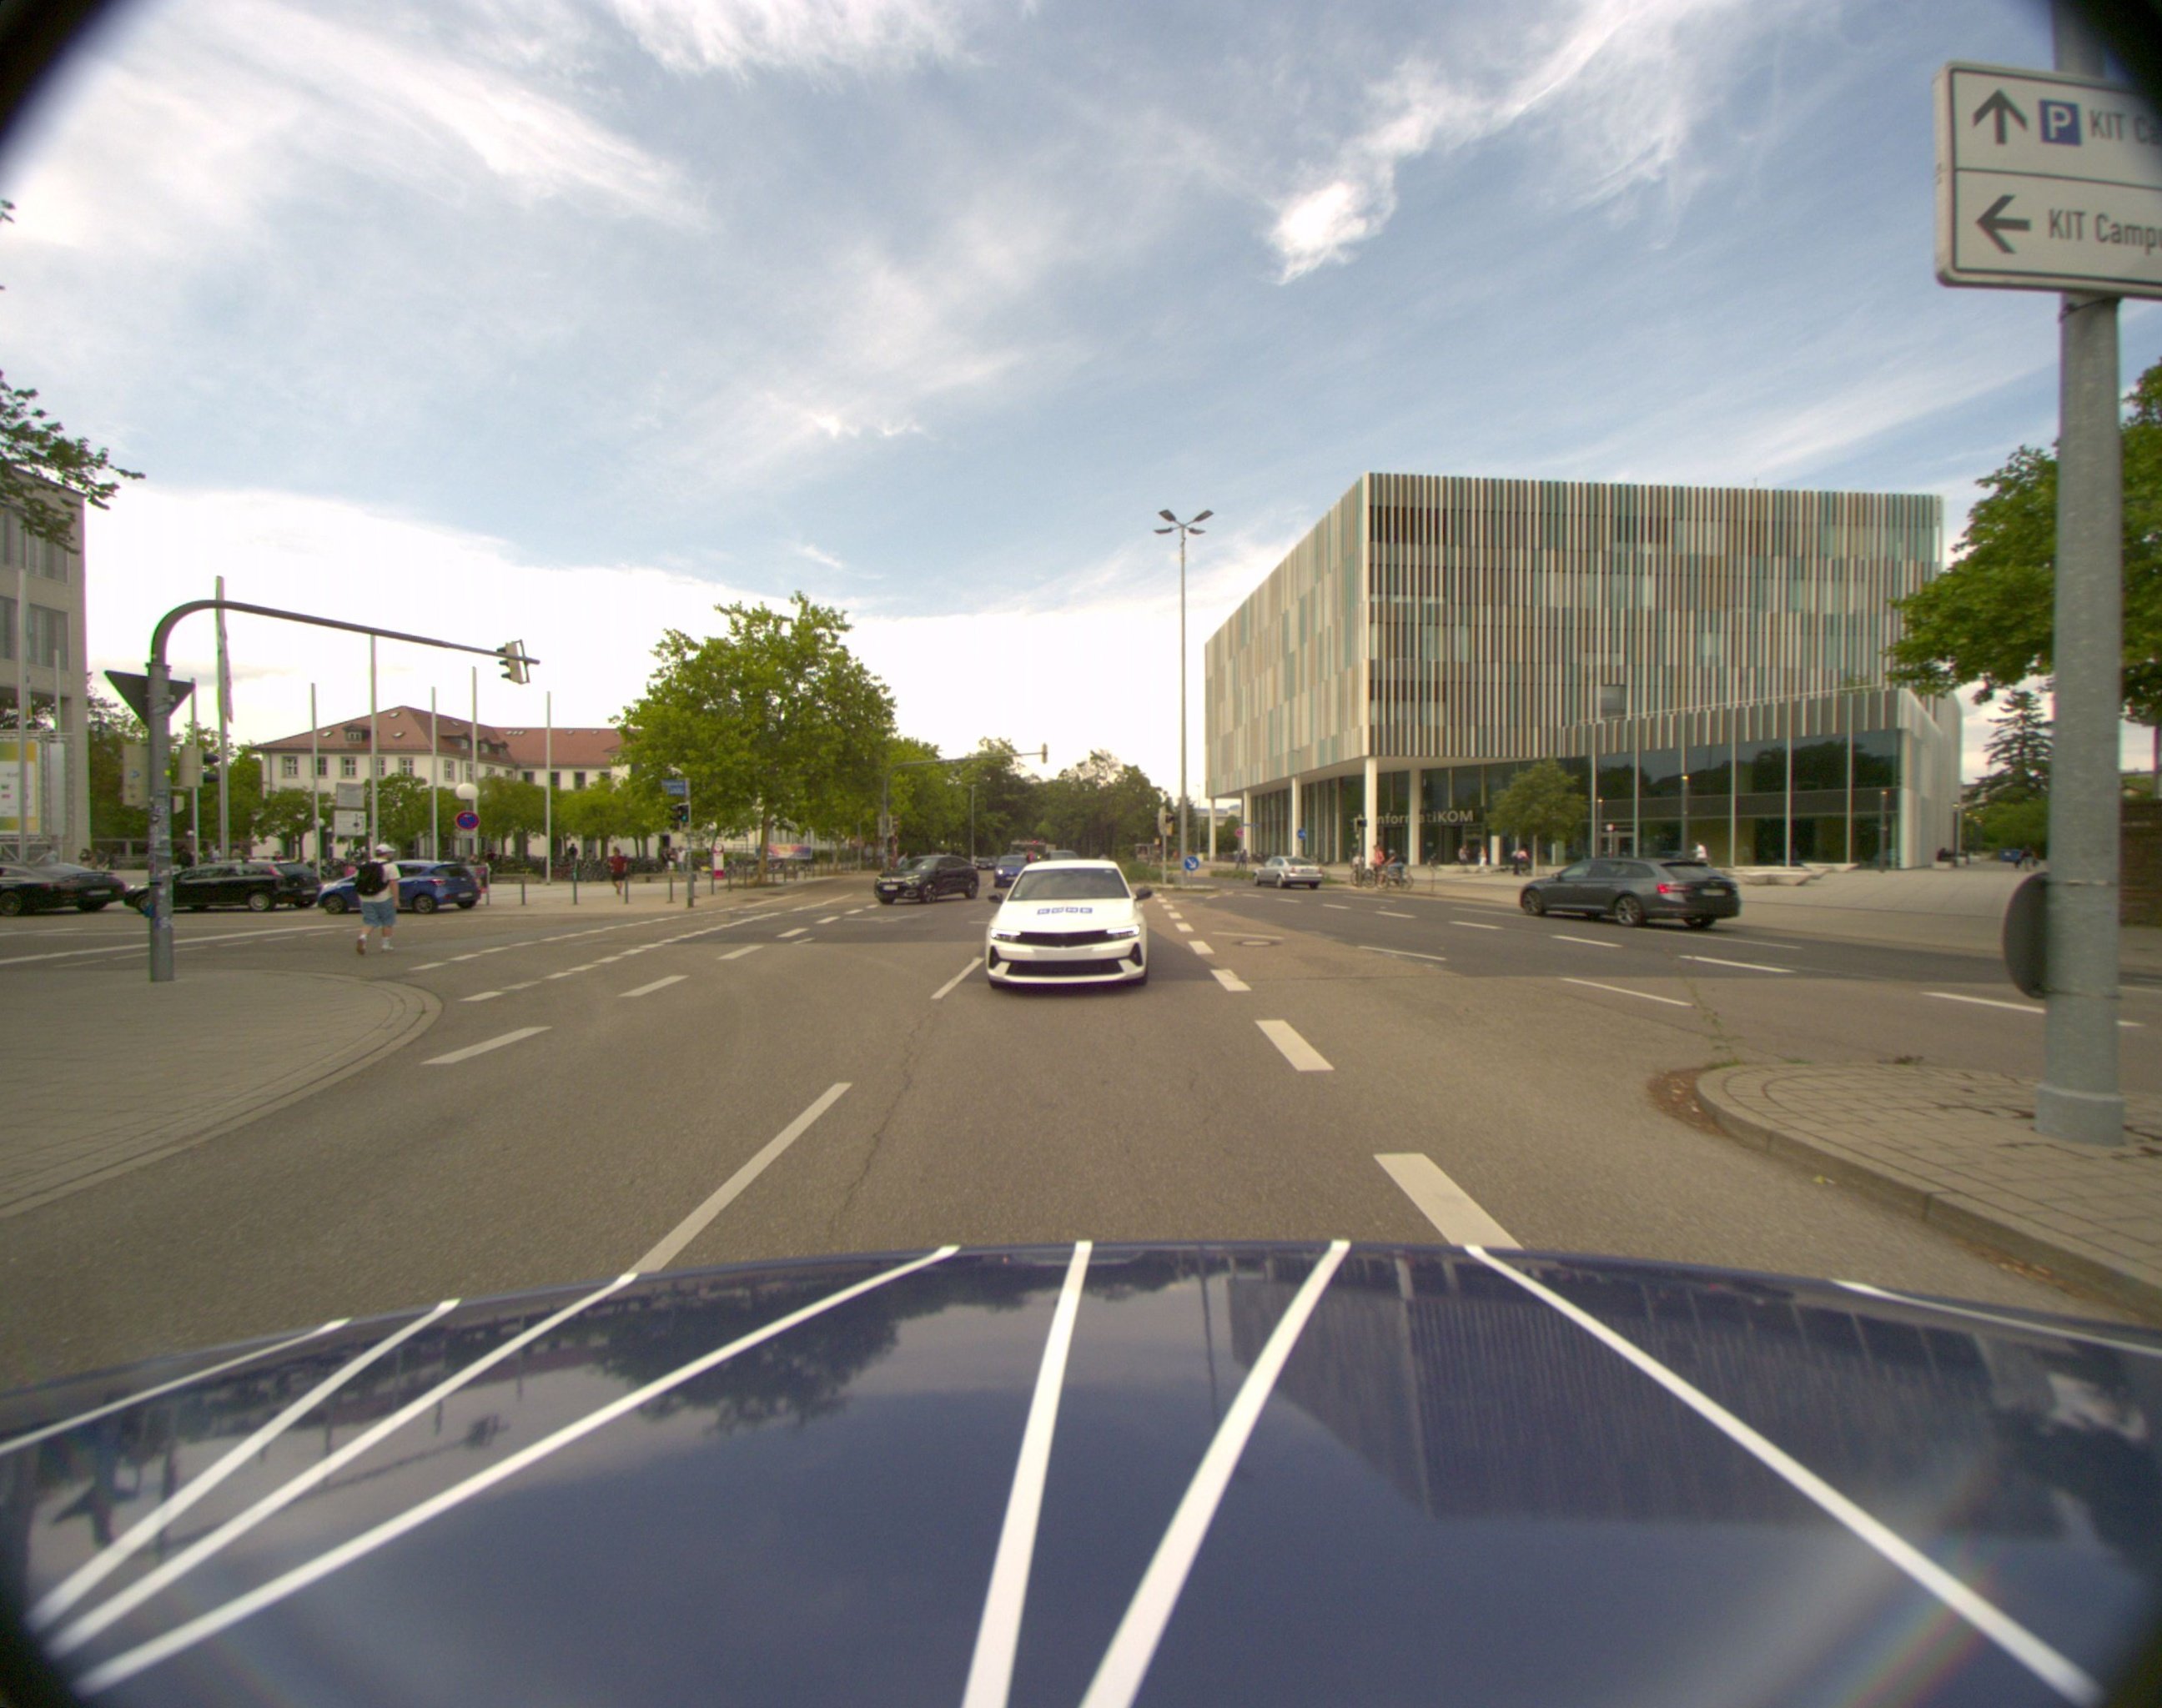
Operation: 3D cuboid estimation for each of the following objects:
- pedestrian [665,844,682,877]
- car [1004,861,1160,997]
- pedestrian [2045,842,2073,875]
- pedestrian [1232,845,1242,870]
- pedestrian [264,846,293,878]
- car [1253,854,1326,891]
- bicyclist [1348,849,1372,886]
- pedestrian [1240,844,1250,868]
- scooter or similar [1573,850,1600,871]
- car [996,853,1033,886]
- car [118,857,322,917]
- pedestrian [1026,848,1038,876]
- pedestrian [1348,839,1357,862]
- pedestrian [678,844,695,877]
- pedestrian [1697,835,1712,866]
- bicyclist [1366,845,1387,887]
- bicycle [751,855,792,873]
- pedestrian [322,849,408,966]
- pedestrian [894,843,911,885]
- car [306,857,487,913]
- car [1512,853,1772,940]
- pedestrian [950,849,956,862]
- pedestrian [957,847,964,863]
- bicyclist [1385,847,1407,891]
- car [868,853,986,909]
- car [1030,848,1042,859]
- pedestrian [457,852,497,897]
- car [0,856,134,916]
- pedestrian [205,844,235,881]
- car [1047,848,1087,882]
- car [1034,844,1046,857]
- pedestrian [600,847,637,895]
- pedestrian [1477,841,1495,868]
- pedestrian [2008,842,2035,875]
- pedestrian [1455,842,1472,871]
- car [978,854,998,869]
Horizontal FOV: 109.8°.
[{"bbox_3d":[-24.366,0.399,45.414,0.687,1.952,0.601,-3,2,-44],"label":"pedestrian"},{"bbox_3d":[-0.180,0.859,10.911,1.745,1.430,4.780,0,1,-5],"label":"car"},{"bbox_3d":[57.647,0.248,44.798,1.073,1.919,0.972,0,0,-38],"label":"pedestrian"},{"bbox_3d":[11.645,0.282,56.861,0.512,1.827,0.772,0,0,-5],"label":"pedestrian"},{"bbox_3d":[-40.636,0.411,38.485,0.728,1.587,0.601,-2,1,-17],"label":"pedestrian"},{"bbox_3d":[9.335,0.778,34.377,1.766,1.480,4.543,0,1,-4],"label":"car"},{"bbox_3d":[12.971,0.629,35.351,0.729,1.663,0.722,-2,2,-18],"label":"bicyclist"},{"bbox_3d":[12.306,0.152,57.059,0.512,1.827,0.624,0,0,-5],"label":"pedestrian"},{"bbox_3d":[29.419,0.356,44.191,2.129,1.191,0.594,-1,1,-36],"label":"scooter or similar"},{"bbox_3d":[-3.220,0.732,36.962,1.704,1.485,3.830,0,1,-5],"label":"car"},{"bbox_3d":[-24.579,0.918,21.820,3.694,1.558,1.673,-1,2,-5],"label":"car"},{"bbox_3d":[-3.248,0.516,50.265,0.727,1.843,1.064,-1,1,-6],"label":"pedestrian"},{"bbox_3d":[23.216,-0.292,64.992,0.512,2.031,0.624,0,0,-6],"label":"pedestrian"},{"bbox_3d":[-23.835,0.392,45.921,0.687,1.952,0.601,-3,2,-44],"label":"pedestrian"},{"bbox_3d":[36.109,-0.213,44.014,0.635,1.768,0.598,0,2,41],"label":"pedestrian"},{"bbox_3d":[13.078,0.523,33.588,0.602,1.796,0.561,-2,2,-18],"label":"bicyclist"},{"bbox_3d":[-21.003,0.676,51.636,2.472,1.136,0.717,-1,1,-3],"label":"bicycle"},{"bbox_3d":[-11.772,0.849,12.522,0.647,1.842,0.828,-2,2,-15],"label":"pedestrian"},{"bbox_3d":[-7.718,0.429,32.927,0.574,1.806,0.681,-1,1,-1],"label":"pedestrian"},{"bbox_3d":[-19.724,0.863,22.030,3.581,1.483,1.673,-1,2,-5],"label":"car"},{"bbox_3d":[12.061,0.802,16.858,1.903,1.606,4.740,0,1,-7],"label":"car"},{"bbox_3d":[-15.713,0.168,93.254,0.646,1.556,0.804,0,1,-6],"label":"pedestrian"},{"bbox_3d":[-14.742,0.078,93.255,0.798,1.922,0.759,0,1,-5],"label":"pedestrian"},{"bbox_3d":[13.328,0.622,32.183,0.602,1.796,0.561,-2,2,-18],"label":"bicyclist"},{"bbox_3d":[-4.929,0.817,24.910,1.801,1.547,4.181,-2,1,20],"label":"car"},{"bbox_3d":[-7.341,-0.084,124.203,1.662,1.455,3.997,9,0,-6],"label":"car"},{"bbox_3d":[-23.502,0.790,29.573,0.953,1.698,0.702,-1,1,15],"label":"pedestrian"},{"bbox_3d":[-29.661,0.869,21.021,4.451,1.558,1.673,-1,2,-5],"label":"car"},{"bbox_3d":[-42.624,0.412,37.612,0.728,1.833,0.601,-2,1,-19],"label":"pedestrian"},{"bbox_3d":[-0.786,0.518,39.922,1.905,1.639,4.643,-1,0,-3],"label":"car"},{"bbox_3d":[-6.723,-0.594,125.665,1.840,2.002,3.999,0,1,-2],"label":"car"},{"bbox_3d":[-17.636,0.629,29.003,0.769,1.794,0.891,-2,1,1],"label":"pedestrian"},{"bbox_3d":[23.791,0.026,44.678,0.731,1.591,0.677,-1,1,-35],"label":"pedestrian"},{"bbox_3d":[55.934,0.287,45.194,1.073,1.919,0.972,0,0,-38],"label":"pedestrian"},{"bbox_3d":[22.819,0.129,45.321,0.732,1.730,0.676,-1,1,-38],"label":"pedestrian"},{"bbox_3d":[-8.981,0.678,73.670,1.704,1.361,3.830,0,1,-5],"label":"car"}]
